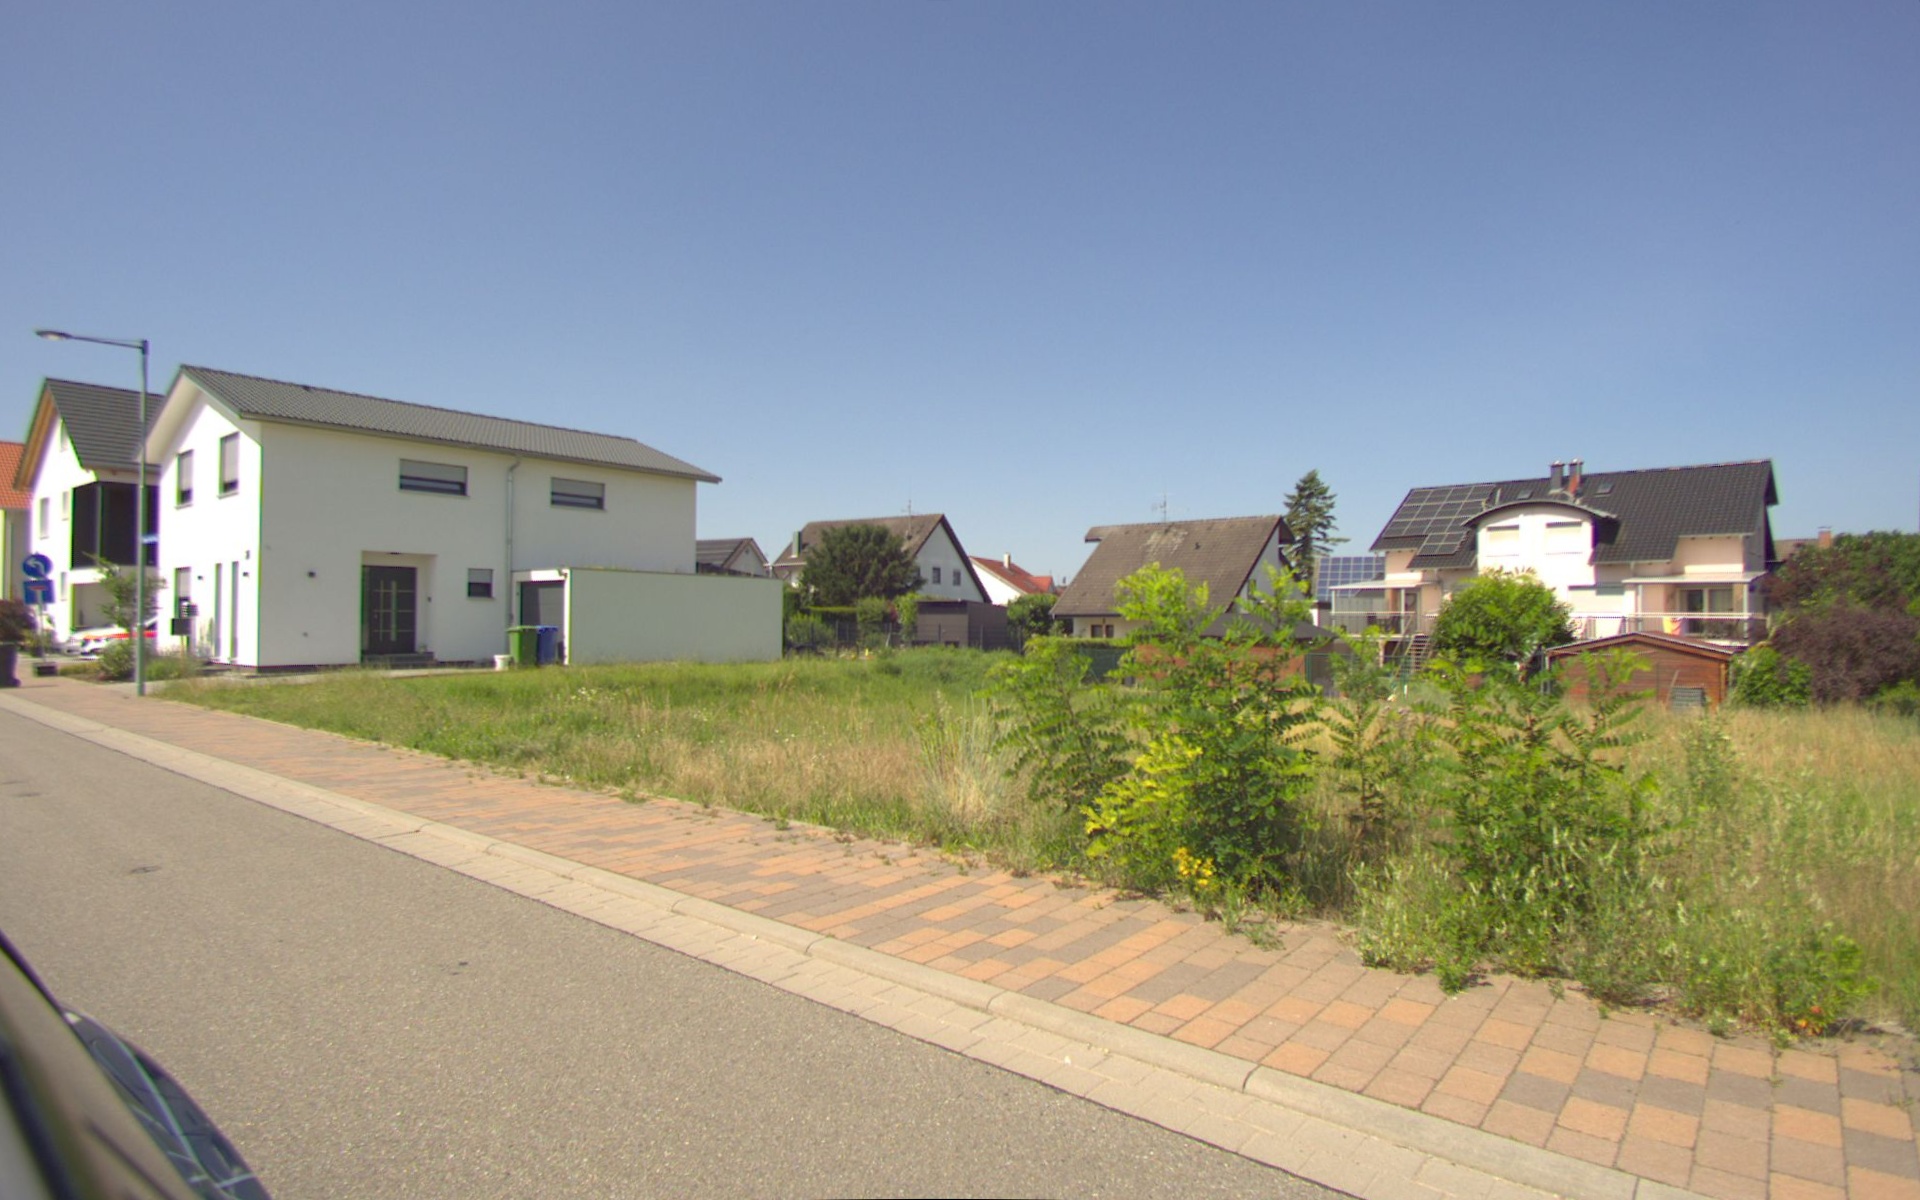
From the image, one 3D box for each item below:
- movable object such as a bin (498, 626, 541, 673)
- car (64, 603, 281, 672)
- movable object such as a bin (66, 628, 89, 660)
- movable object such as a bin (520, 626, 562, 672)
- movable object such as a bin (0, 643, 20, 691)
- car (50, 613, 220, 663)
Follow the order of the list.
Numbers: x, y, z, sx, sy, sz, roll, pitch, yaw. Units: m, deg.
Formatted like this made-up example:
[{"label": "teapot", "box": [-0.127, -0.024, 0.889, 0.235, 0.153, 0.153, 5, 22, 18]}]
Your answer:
[{"label": "movable object such as a bin", "box": [-10.670, 1.192, 24.502, 0.784, 1.107, 0.653, -1, -3, 39]}, {"label": "car", "box": [-23.081, 1.084, 29.840, 1.935, 1.889, 4.692, -1, -2, 37]}, {"label": "movable object such as a bin", "box": [-30.761, 1.547, 35.275, 0.600, 1.100, 0.494, -3, -3, 35]}, {"label": "movable object such as a bin", "box": [-10.374, 1.203, 25.063, 0.807, 1.107, 0.663, -1, -3, 41]}, {"label": "movable object such as a bin", "box": [-19.862, 1.380, 20.847, 0.499, 0.955, 0.617, 0, -1, 35]}, {"label": "car", "box": [-27.691, 1.283, 34.099, 1.741, 1.574, 4.117, -1, -2, 34]}]
